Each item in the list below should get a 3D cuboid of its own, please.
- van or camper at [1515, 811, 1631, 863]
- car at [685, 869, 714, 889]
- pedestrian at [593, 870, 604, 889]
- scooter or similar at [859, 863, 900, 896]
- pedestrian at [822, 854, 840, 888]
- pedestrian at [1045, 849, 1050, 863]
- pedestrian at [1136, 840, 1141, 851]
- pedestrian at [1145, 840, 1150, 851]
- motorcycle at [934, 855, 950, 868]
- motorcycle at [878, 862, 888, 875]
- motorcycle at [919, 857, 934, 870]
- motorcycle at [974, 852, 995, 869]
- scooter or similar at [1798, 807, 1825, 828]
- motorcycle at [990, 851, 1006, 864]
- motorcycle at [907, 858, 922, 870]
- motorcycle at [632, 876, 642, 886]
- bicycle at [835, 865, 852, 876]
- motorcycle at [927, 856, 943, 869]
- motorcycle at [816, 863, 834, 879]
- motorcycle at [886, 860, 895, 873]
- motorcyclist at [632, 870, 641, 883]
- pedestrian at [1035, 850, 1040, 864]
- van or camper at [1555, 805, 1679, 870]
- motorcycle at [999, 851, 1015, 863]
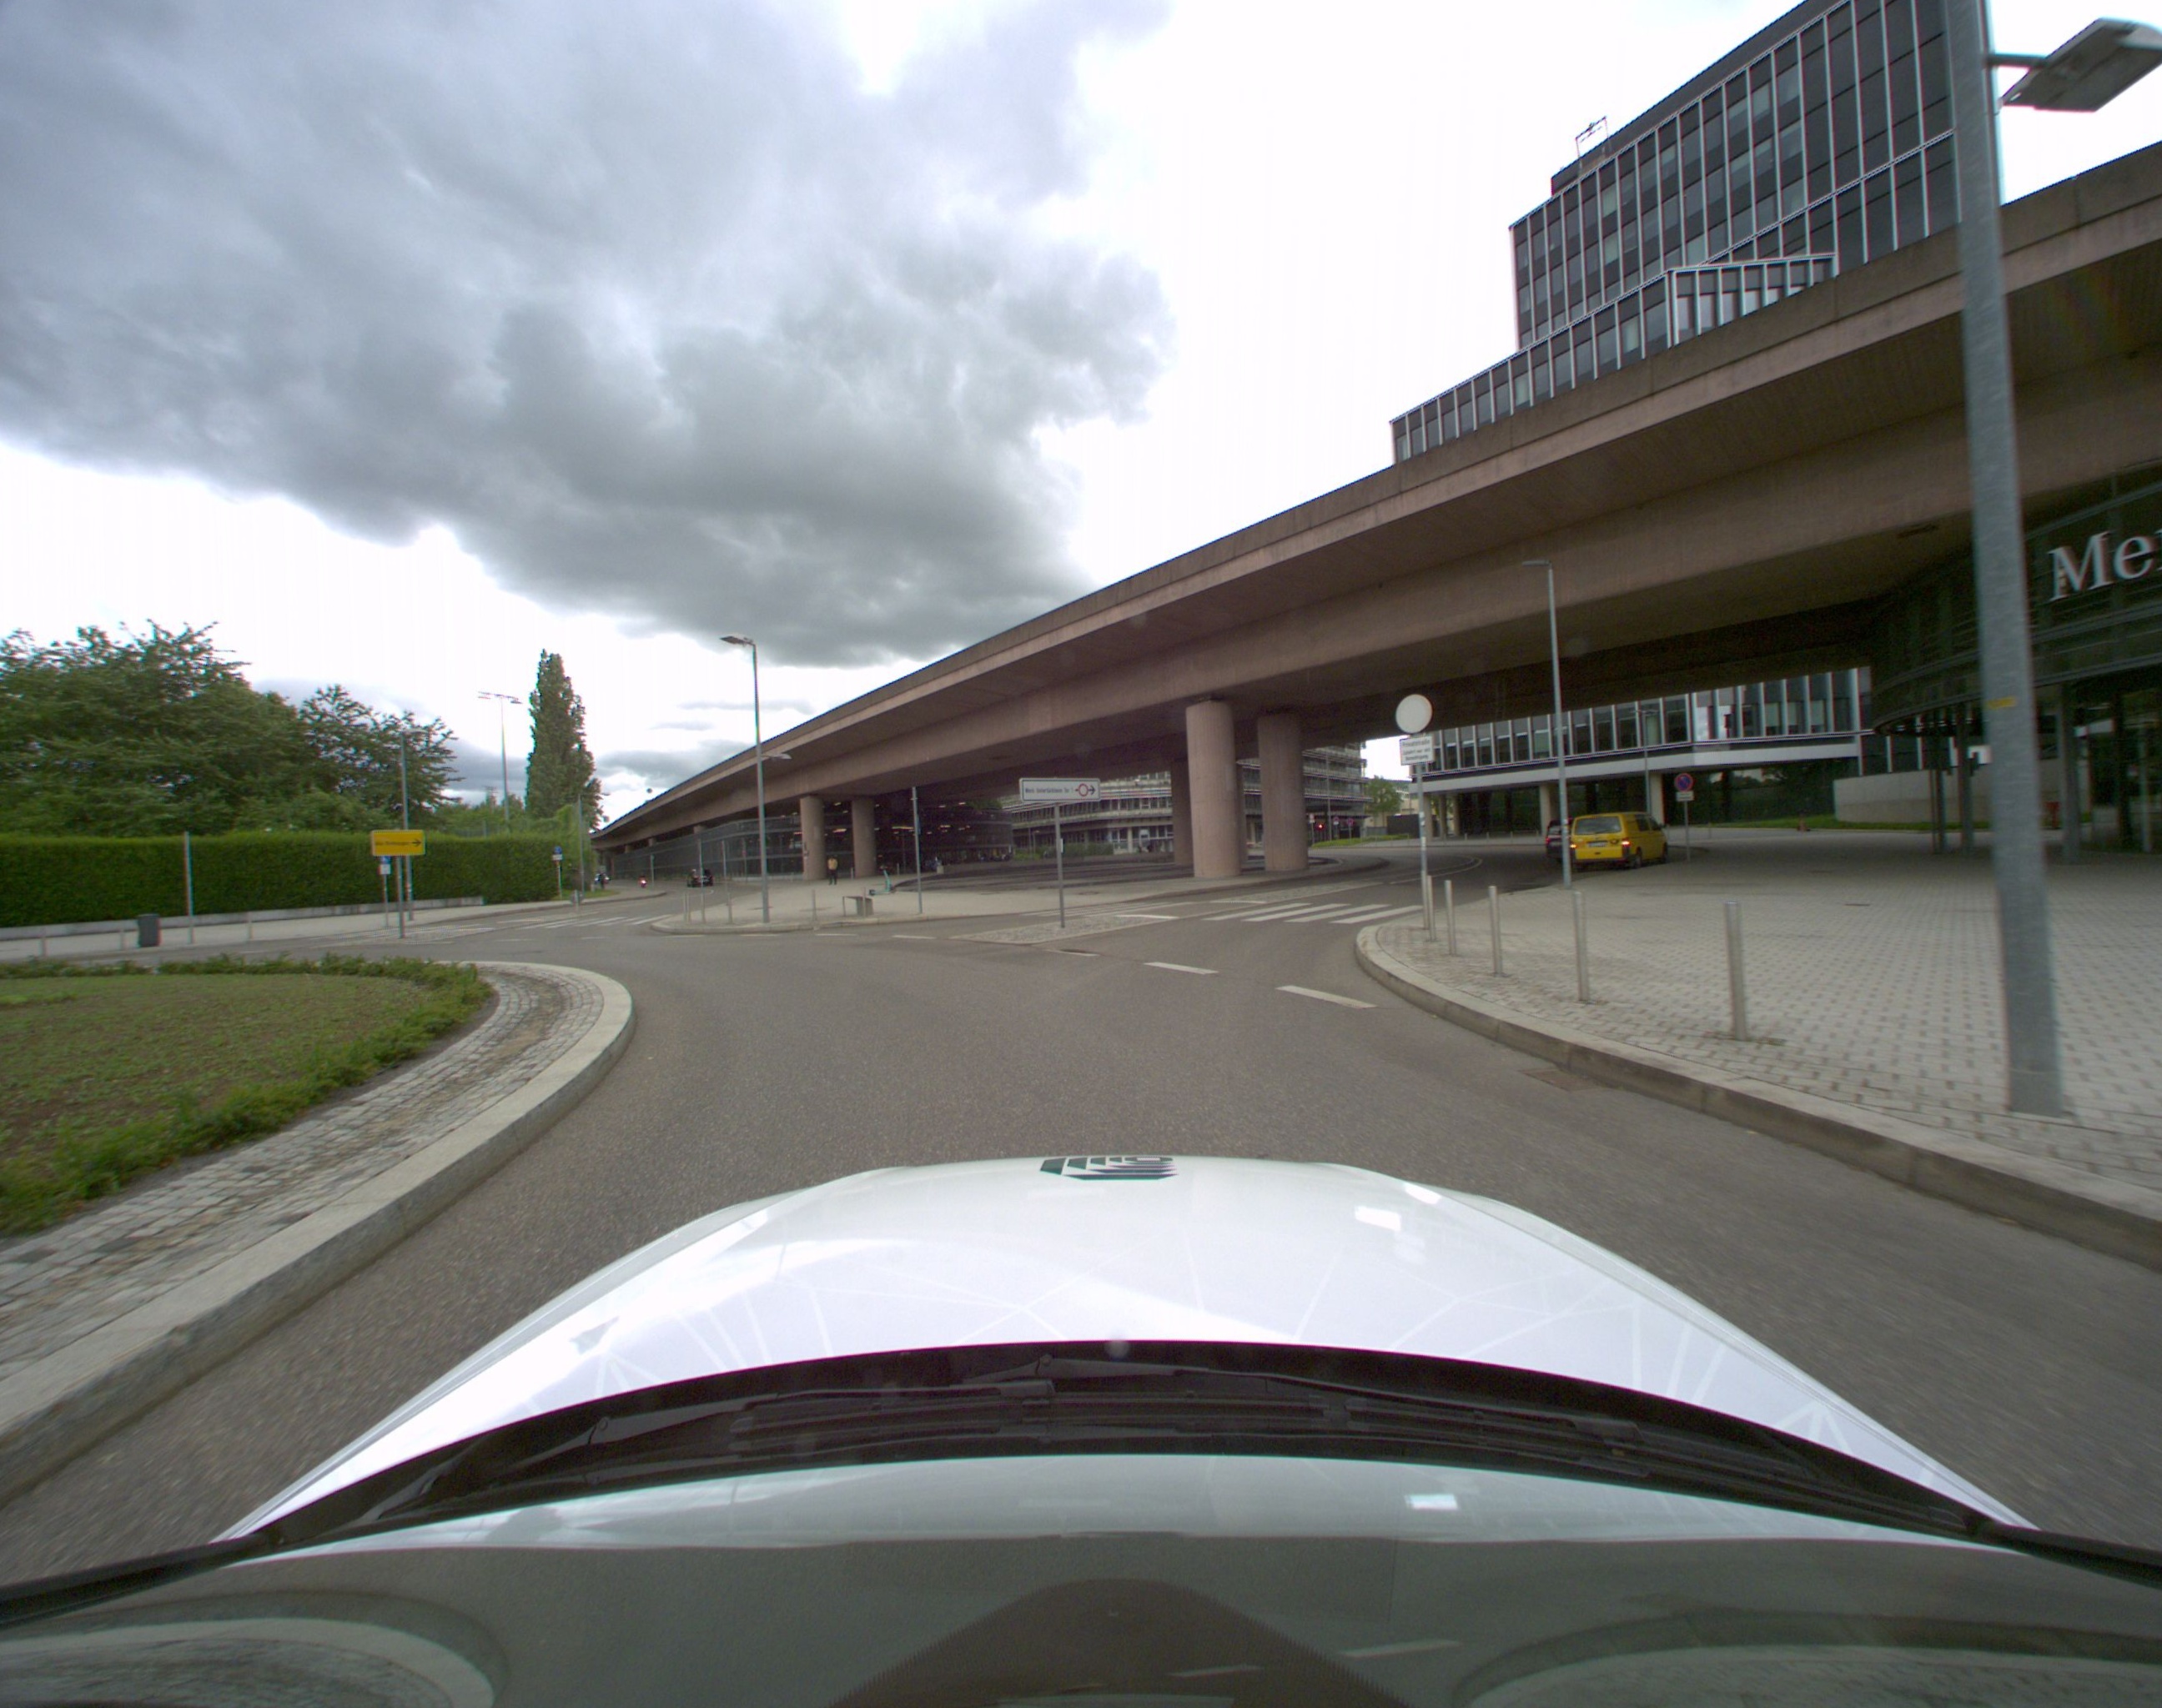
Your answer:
[{"bbox_3d":[20.574,-0.739,33.984,4.920,1.892,2.132,-4,2,-32],"label":"van or camper"},{"bbox_3d":[-36.724,2.350,78.385,1.853,1.711,3.665,-4,2,-35],"label":"car"},{"bbox_3d":[-48.366,2.552,81.680,0.809,1.780,0.911,-4,2,-32],"label":"pedestrian"},{"bbox_3d":[-8.800,1.106,35.624,1.650,1.295,0.515,-3,2,-20],"label":"scooter or similar"},{"bbox_3d":[-15.544,1.050,50.613,0.787,2.013,1.029,-4,2,-30],"label":"pedestrian"},{"bbox_3d":[-5.040,0.334,122.000,0.530,2.013,0.568,-3,0,-28],"label":"pedestrian"},{"bbox_3d":[7.642,-1.104,108.177,0.490,1.481,0.548,-2,2,23],"label":"pedestrian"},{"bbox_3d":[8.765,-1.149,107.791,0.490,1.481,0.548,-2,2,23],"label":"pedestrian"},{"bbox_3d":[-14.143,0.795,82.789,0.677,1.285,2.057,-4,2,-34],"label":"motorcycle"},{"bbox_3d":[-18.524,1.365,76.224,0.518,1.171,1.150,-3,-1,1],"label":"motorcycle"},{"bbox_3d":[-15.501,0.926,81.842,0.677,1.220,2.057,-4,2,-34],"label":"motorcycle"},{"bbox_3d":[-7.852,0.497,66.378,0.541,1.264,1.954,-2,2,33],"label":"motorcycle"},{"bbox_3d":[40.314,-2.035,44.983,0.692,1.105,1.510,-2,2,25],"label":"scooter or similar"},{"bbox_3d":[-8.976,0.376,88.022,0.677,1.275,2.338,-4,2,-34],"label":"motorcycle"},{"bbox_3d":[-16.599,0.995,81.364,0.677,1.220,2.057,-4,2,-34],"label":"motorcycle"},{"bbox_3d":[-49.092,2.939,90.011,0.751,1.022,1.936,-4,2,-32],"label":"motorcycle"},{"bbox_3d":[-23.499,1.660,80.573,1.472,0.976,0.450,-3,1,-10],"label":"bicycle"},{"bbox_3d":[-14.764,0.878,82.357,0.677,1.220,2.057,-4,2,-34],"label":"motorcycle"},{"bbox_3d":[-23.378,1.540,74.444,1.740,1.454,0.648,-2,2,39],"label":"motorcycle"},{"bbox_3d":[-18.660,1.214,79.847,0.831,1.220,2.070,-3,2,-13],"label":"motorcycle"},{"bbox_3d":[-49.064,2.505,89.943,0.767,1.419,0.861,-4,2,-33],"label":"motorcyclist"},{"bbox_3d":[-6.553,0.410,121.812,0.530,2.013,0.569,-3,0,-27],"label":"pedestrian"},{"bbox_3d":[18.833,-0.606,28.554,4.528,1.999,2.335,-4,1,-39],"label":"van or camper"},{"bbox_3d":[-8.097,0.338,89.177,0.677,1.220,2.338,-4,2,-34],"label":"motorcycle"}]
